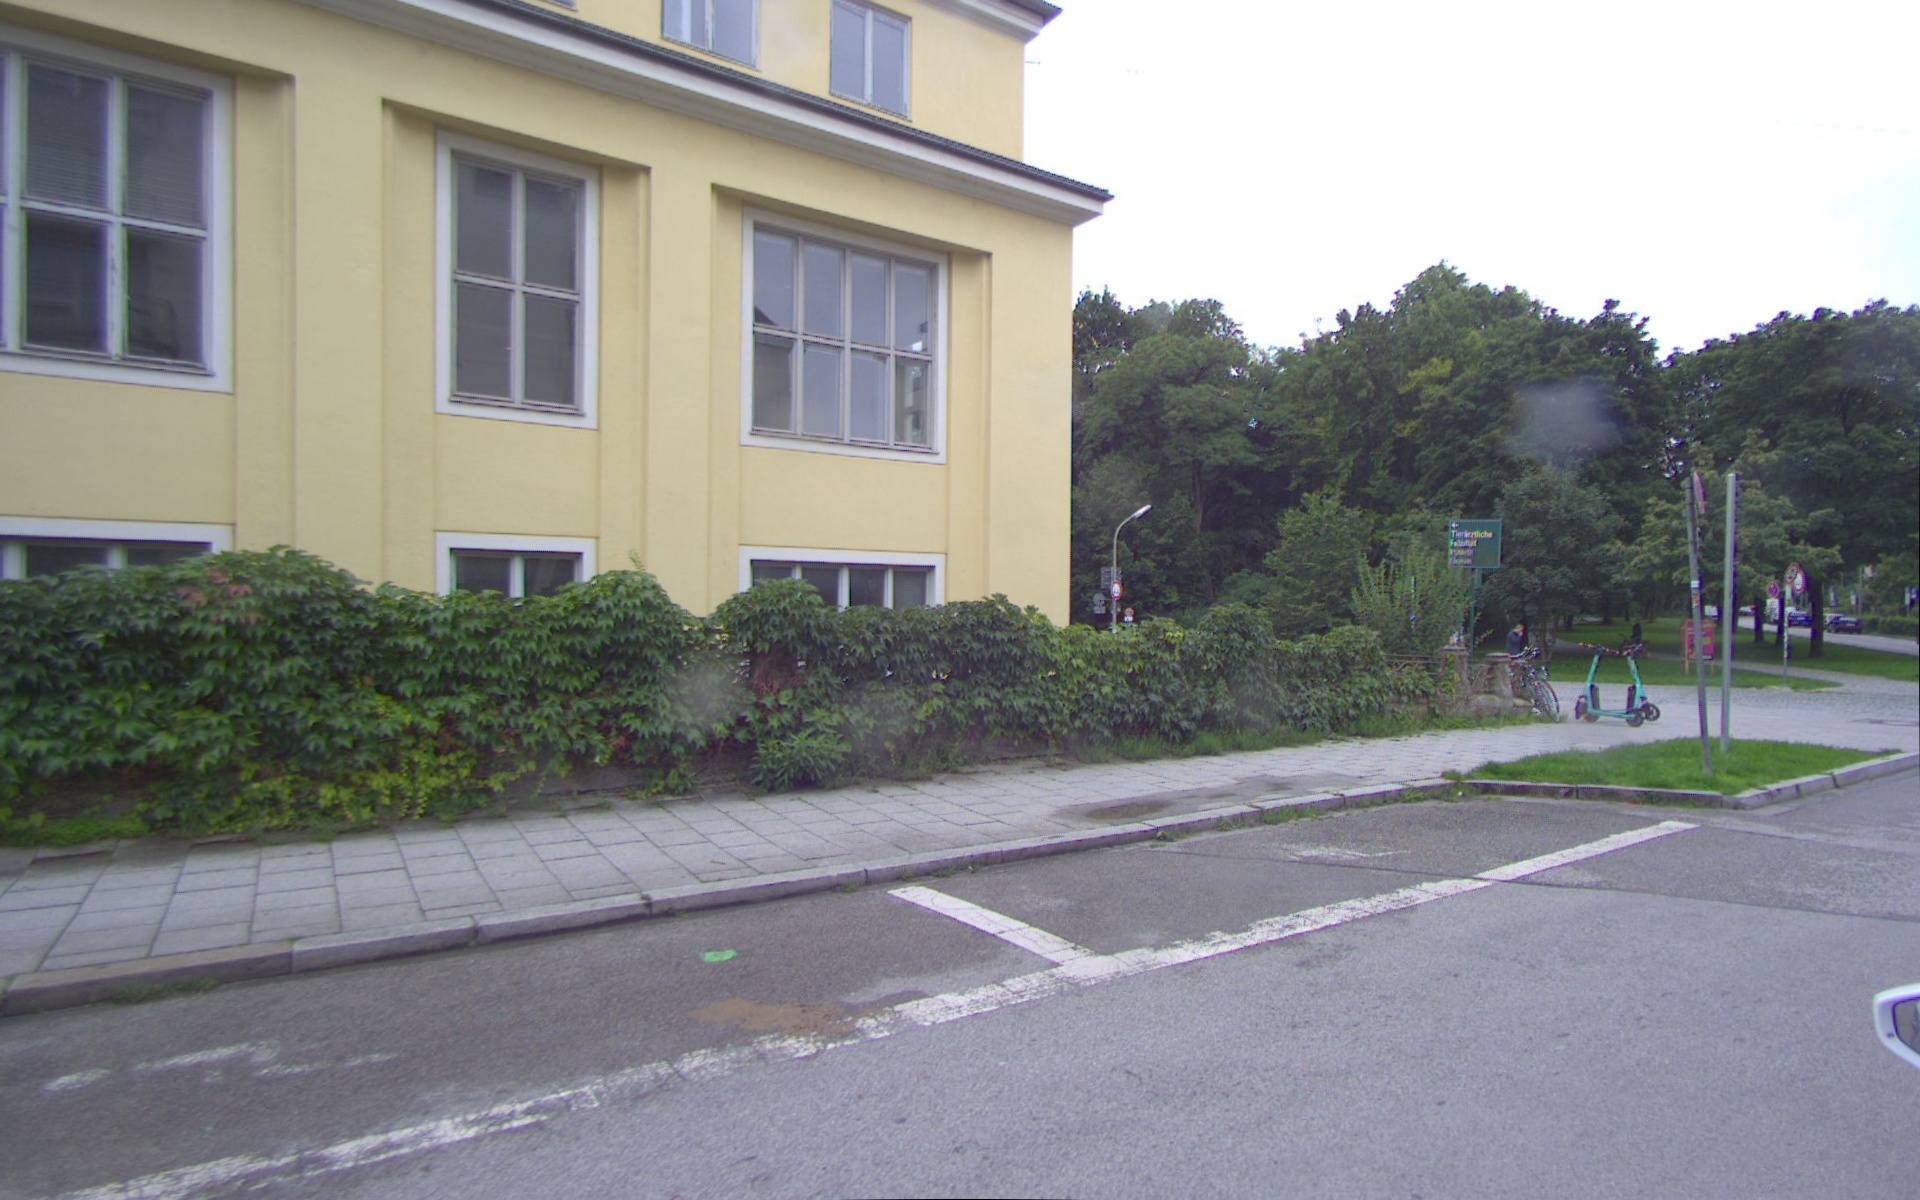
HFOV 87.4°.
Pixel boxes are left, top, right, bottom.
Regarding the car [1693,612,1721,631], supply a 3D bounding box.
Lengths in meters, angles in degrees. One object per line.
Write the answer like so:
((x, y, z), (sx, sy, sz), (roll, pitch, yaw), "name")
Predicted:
((75.781, 2.208, 101.892), (1.966, 1.862, 3.990), (1, 0, 33), "car")

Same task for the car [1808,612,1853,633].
((73.835, 1.902, 85.279), (2.145, 1.679, 4.495), (1, 0, 32), "car")

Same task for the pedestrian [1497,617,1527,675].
((17.250, 1.418, 31.387), (0.720, 1.776, 0.657), (0, 0, 37), "pedestrian")

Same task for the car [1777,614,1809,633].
((81.120, 2.267, 97.907), (1.849, 1.840, 3.990), (1, 0, 32), "car")

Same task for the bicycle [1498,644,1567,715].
((10.177, 1.395, 17.900), (0.641, 1.149, 1.502), (1, 0, 12), "bicycle")

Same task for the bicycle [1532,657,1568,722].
((9.512, 1.420, 16.178), (0.463, 0.935, 1.201), (1, 0, 32), "bicycle")

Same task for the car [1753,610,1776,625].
((92.478, 1.999, 115.445), (1.622, 1.674, 4.272), (1, 0, 33), "car")

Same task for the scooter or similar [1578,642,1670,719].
((10.838, 1.306, 16.409), (1.158, 1.236, 0.447), (0, -2, 5), "scooter or similar")

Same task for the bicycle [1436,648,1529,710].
((10.184, 1.536, 19.641), (0.642, 1.148, 1.735), (1, -4, -11), "bicycle")

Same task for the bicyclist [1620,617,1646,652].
((28.411, 1.457, 42.394), (0.636, 1.480, 0.627), (1, 0, -21), "bicyclist")

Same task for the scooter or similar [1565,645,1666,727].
((10.299, 1.322, 15.804), (0.595, 1.236, 1.173), (1, -3, -29), "scooter or similar")

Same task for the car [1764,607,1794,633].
((86.260, 2.066, 105.820), (1.849, 2.602, 4.920), (1, 0, 32), "car")

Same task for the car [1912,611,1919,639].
((57.198, 1.458, 58.544), (1.838, 1.655, 4.269), (1, 0, 35), "car")

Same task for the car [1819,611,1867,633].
((70.475, 1.744, 80.228), (2.145, 1.679, 4.495), (1, 0, 32), "car")

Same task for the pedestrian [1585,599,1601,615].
((77.492, 0.891, 122.889), (1.301, 1.971, 1.035), (0, -1, -2), "pedestrian")

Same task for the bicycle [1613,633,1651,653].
((28.404, 1.804, 42.461), (0.434, 0.786, 1.354), (1, 0, -21), "bicycle")
